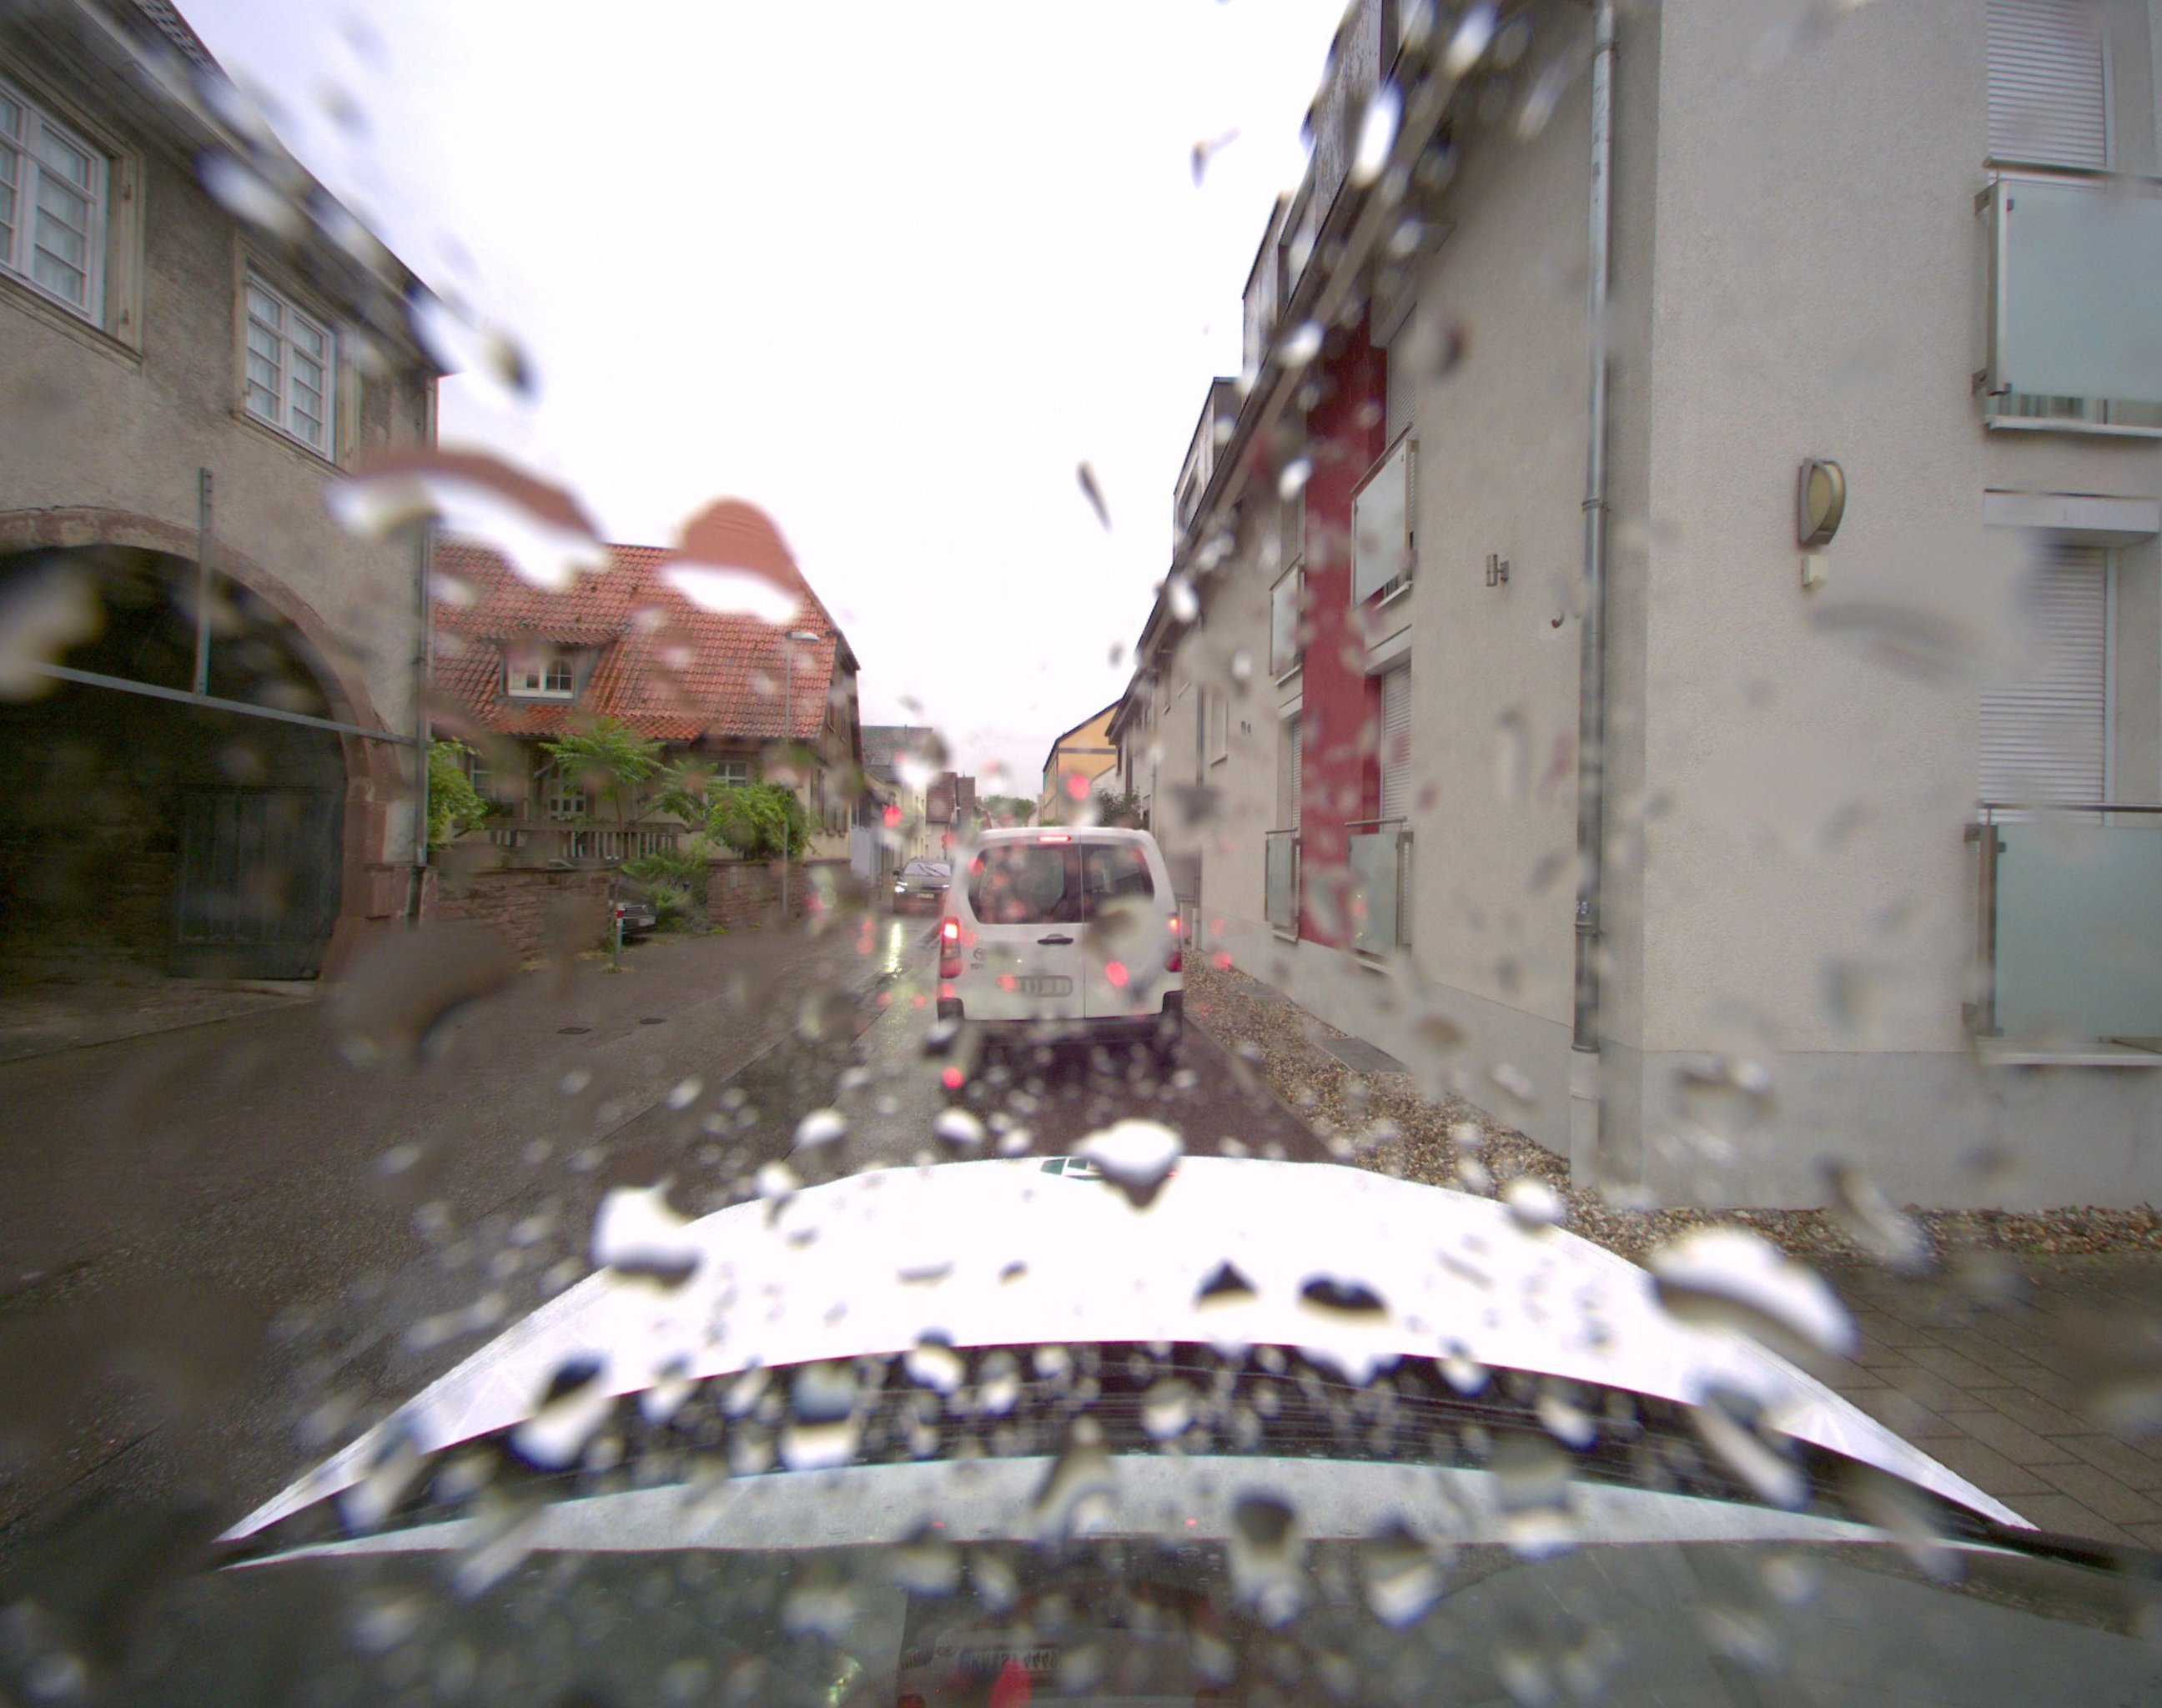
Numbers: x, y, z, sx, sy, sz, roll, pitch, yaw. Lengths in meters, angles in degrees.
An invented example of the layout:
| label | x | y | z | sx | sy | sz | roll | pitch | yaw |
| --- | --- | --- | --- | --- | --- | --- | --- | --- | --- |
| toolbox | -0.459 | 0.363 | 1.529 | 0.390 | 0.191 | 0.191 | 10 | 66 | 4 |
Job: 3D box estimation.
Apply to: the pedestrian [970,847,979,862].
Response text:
| label | x | y | z | sx | sy | sz | roll | pitch | yaw |
| --- | --- | --- | --- | --- | --- | --- | --- | --- | --- |
| pedestrian | -13.565 | 0.103 | 103.528 | 1.049 | 1.893 | 0.875 | 0 | -1 | -7 |

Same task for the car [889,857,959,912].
| label | x | y | z | sx | sy | sz | roll | pitch | yaw |
| --- | --- | --- | --- | --- | --- | --- | --- | --- | --- |
| car | -4.764 | 0.886 | 25.210 | 1.831 | 1.556 | 4.228 | 1 | -1 | -7 |

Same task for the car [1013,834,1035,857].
| label | x | y | z | sx | sy | sz | roll | pitch | yaw |
| --- | --- | --- | --- | --- | --- | --- | --- | --- | --- |
| car | -5.320 | -0.785 | 76.590 | 1.989 | 2.014 | 3.995 | 0 | -1 | -3 |

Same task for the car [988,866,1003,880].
| label | x | y | z | sx | sy | sz | roll | pitch | yaw |
| --- | --- | --- | --- | --- | --- | --- | --- | --- | --- |
| car | -9.662 | 2.120 | 91.893 | 1.559 | 1.477 | 3.990 | 0 | -1 | -7 |

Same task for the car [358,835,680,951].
| label | x | y | z | sx | sy | sz | roll | pitch | yaw |
| --- | --- | --- | --- | --- | --- | --- | --- | --- | --- |
| car | -9.115 | 0.617 | 13.443 | 3.973 | 1.425 | 1.736 | 5 | -1 | 1 |

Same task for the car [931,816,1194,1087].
| label | x | y | z | sx | sy | sz | roll | pitch | yaw |
| --- | --- | --- | --- | --- | --- | --- | --- | --- | --- |
| car | -0.328 | 0.652 | 7.462 | 1.773 | 1.780 | 3.991 | 0 | -1 | -7 |

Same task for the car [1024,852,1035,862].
| label | x | y | z | sx | sy | sz | roll | pitch | yaw |
| --- | --- | --- | --- | --- | --- | --- | --- | --- | --- |
| car | -10.647 | 0.682 | 168.695 | 1.986 | 2.014 | 4.001 | 0 | -1 | 2 |

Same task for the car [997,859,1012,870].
| label | x | y | z | sx | sy | sz | roll | pitch | yaw |
| --- | --- | --- | --- | --- | --- | --- | --- | --- | --- |
| car | -9.603 | 1.311 | 102.277 | 1.778 | 1.395 | 3.989 | 0 | -1 | -7 |
